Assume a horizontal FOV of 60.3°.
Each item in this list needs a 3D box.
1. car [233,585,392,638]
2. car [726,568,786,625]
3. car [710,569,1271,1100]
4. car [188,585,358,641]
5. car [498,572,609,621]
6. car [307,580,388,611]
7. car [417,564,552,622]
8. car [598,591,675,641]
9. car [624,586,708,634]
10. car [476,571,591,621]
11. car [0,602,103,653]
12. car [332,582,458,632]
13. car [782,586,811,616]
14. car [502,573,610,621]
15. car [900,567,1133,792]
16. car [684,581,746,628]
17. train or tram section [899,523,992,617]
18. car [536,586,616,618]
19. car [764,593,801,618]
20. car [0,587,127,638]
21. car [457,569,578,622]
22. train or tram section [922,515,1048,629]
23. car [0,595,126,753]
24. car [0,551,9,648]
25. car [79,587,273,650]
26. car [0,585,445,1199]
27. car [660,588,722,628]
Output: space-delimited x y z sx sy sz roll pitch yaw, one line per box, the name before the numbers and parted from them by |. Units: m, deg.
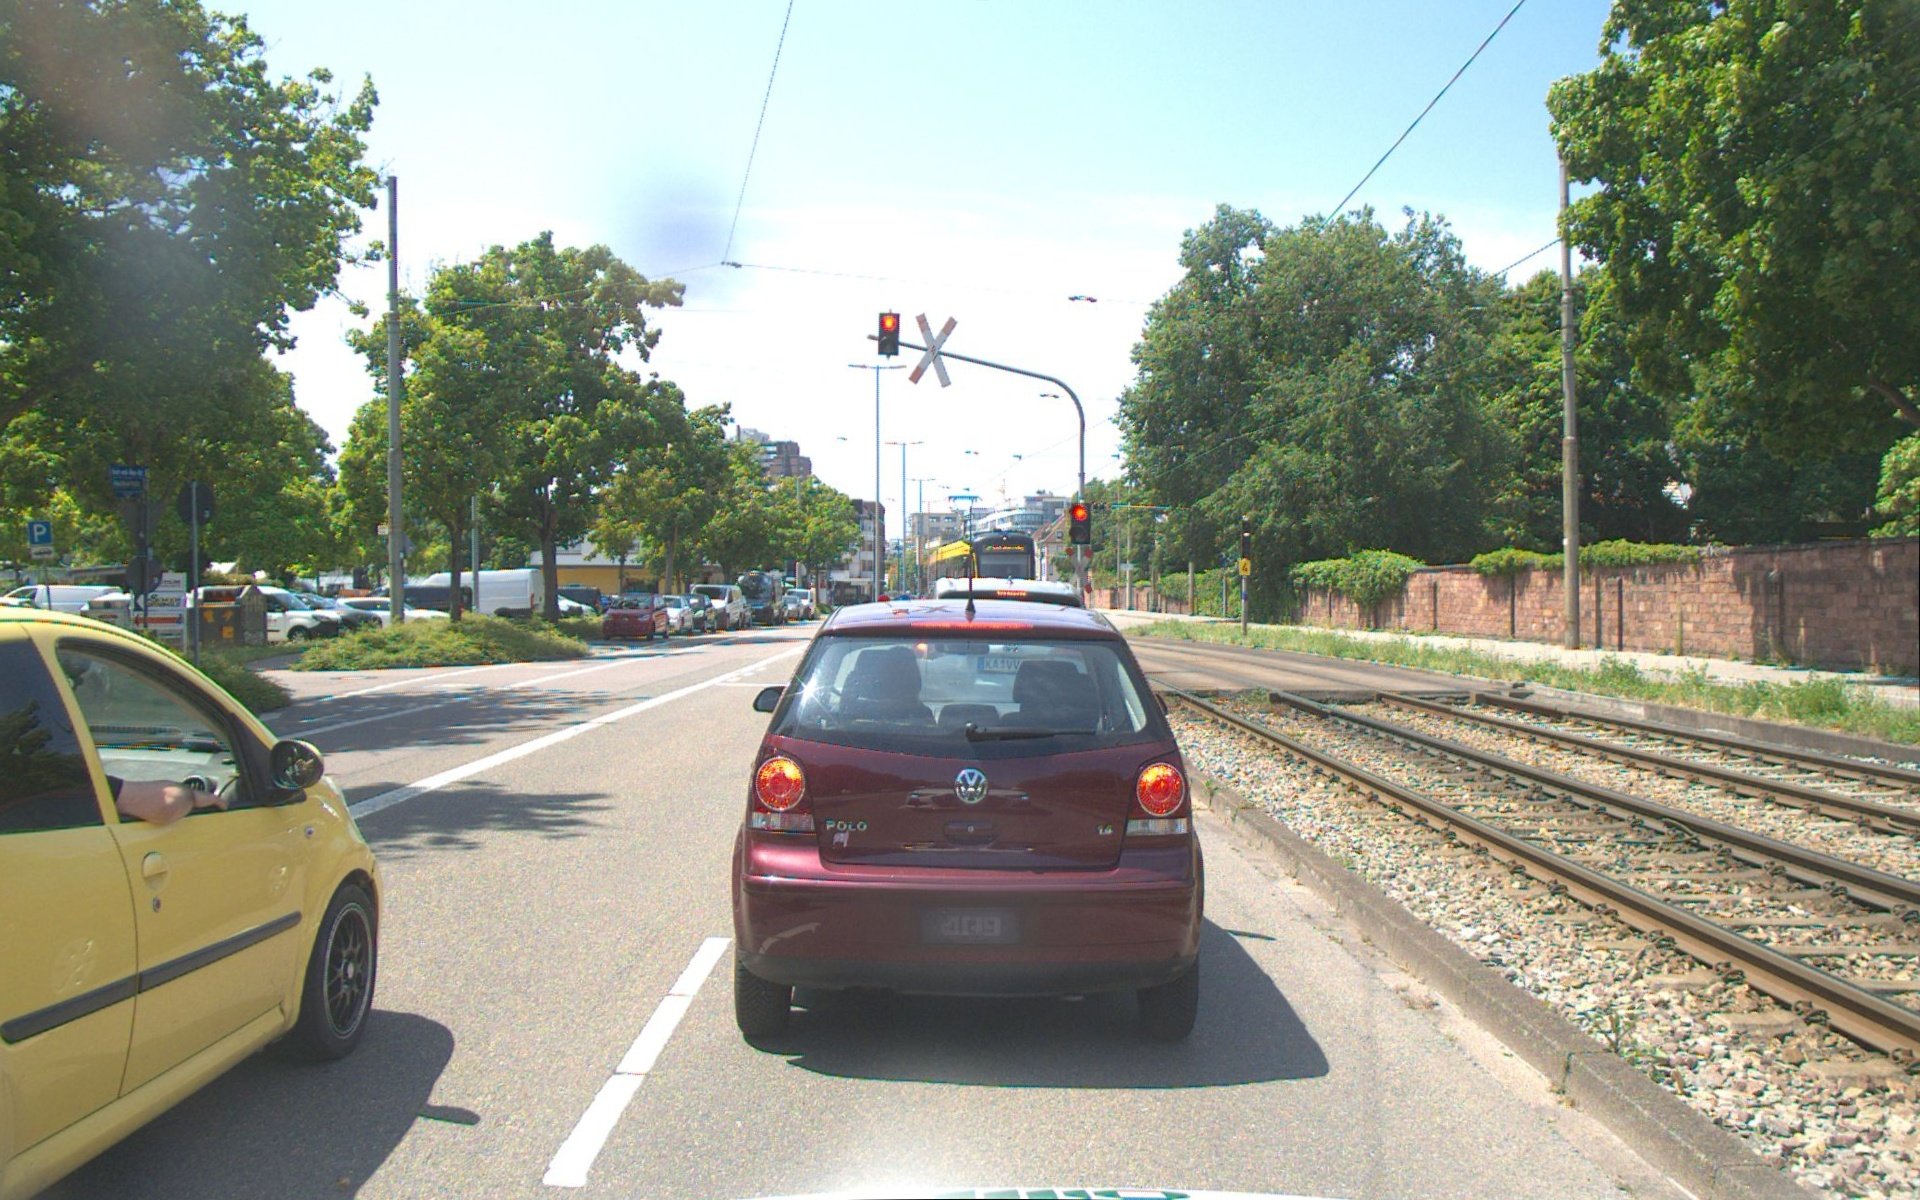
car | -20.381 0.358 52.151 4.251 1.612 1.914 0 0 5
car | -10.322 -0.162 84.070 2.313 2.739 5.307 2 -1 0
car | 0.044 0.689 6.936 1.638 1.548 3.999 2 0 -2
car | -20.461 0.378 49.338 4.251 1.612 1.914 0 0 5
car | -20.722 -0.146 84.417 4.993 2.283 2.378 2 -1 0
car | -35.343 -0.252 95.437 3.939 1.645 1.816 2 -1 -2
car | -20.289 -0.278 70.728 4.993 2.283 2.378 2 -1 0
car | -10.555 0.525 54.233 1.628 1.523 4.000 2 -1 1
car | -10.750 0.364 60.779 1.934 1.629 4.560 2 -1 4
car | -21.087 -0.180 81.942 4.993 2.283 2.378 2 -1 0
car | -32.486 0.948 57.947 3.913 1.682 1.812 2 -1 -9
car | -20.523 0.242 60.182 3.906 1.776 1.998 -1 0 -2
car | -10.610 0.100 107.347 1.741 1.860 3.995 2 -1 -6
car | -21.191 -0.141 86.992 4.993 2.283 2.378 2 -1 0
car | 0.383 0.595 14.641 1.741 1.676 3.999 2 0 -2
car | -10.464 0.218 71.023 1.746 1.914 4.787 2 -1 2
train or tram section | -0.791 -1.274 72.232 2.689 3.672 10.932 2 0 -7
car | -21.212 0.119 91.412 3.938 1.645 1.816 2 -1 0
car | -10.812 0.359 101.069 1.581 1.466 4.001 2 -1 3
car | -32.847 0.457 60.357 3.913 1.682 1.812 2 -1 -9
car | -21.032 -0.205 78.755 4.993 2.283 2.378 2 -1 0
train or tram section | 0.690 -0.988 60.841 2.689 3.672 12.849 2 0 -7
car | -10.308 0.726 16.486 1.782 1.502 4.448 2 0 -1
car | -33.115 -0.131 50.390 6.714 3.017 2.363 2 -1 -2
car | -20.943 0.477 44.333 4.256 1.612 1.912 -1 0 -3
car | -2.632 0.700 4.101 1.656 1.435 3.514 2 0 -2
car | -10.638 0.329 65.598 1.581 1.466 4.001 2 -1 3
